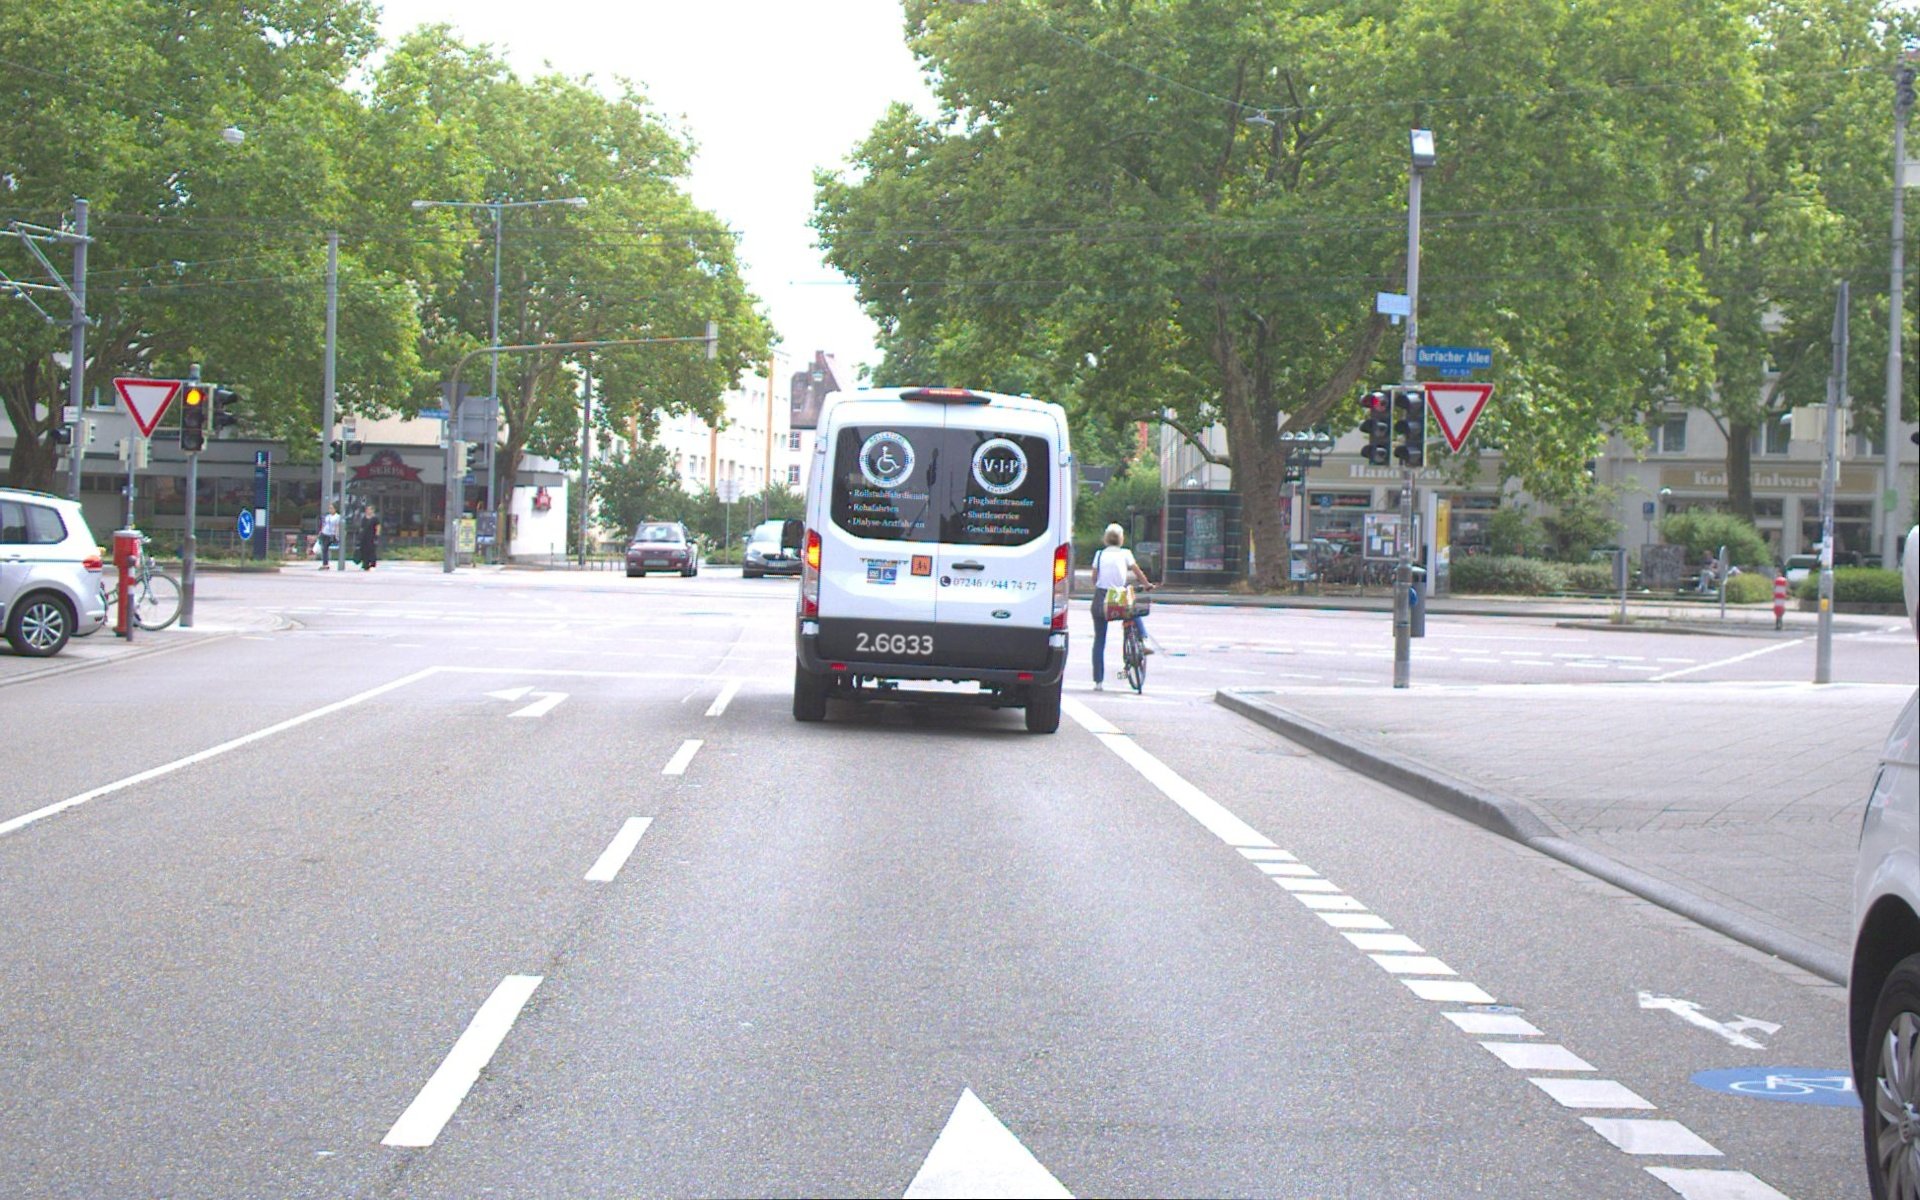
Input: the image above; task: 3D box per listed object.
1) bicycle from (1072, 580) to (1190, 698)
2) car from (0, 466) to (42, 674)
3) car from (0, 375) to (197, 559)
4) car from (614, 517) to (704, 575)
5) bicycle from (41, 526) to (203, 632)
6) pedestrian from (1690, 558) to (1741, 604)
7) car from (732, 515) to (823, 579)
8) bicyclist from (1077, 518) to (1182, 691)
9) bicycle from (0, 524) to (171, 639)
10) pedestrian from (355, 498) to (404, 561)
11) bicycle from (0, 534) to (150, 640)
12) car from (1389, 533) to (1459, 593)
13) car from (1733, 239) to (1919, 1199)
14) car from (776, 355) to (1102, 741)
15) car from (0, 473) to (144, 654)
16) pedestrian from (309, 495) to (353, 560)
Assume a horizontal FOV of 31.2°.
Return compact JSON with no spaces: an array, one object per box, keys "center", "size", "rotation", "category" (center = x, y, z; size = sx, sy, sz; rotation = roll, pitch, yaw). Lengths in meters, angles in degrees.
[{"center":[1.679,0.370,34.034],"size":[0.902,1.071,1.970],"rotation":[1,1,-4],"category":"bicycle"},{"center":[-10.470,-0.311,30.656],"size":[4.000,1.872,1.796],"rotation":[1,1,-40],"category":"car"},{"center":[-22.289,-3.025,77.141],"size":[9.897,3.902,3.451],"rotation":[2,1,24],"category":"car"},{"center":[-7.966,-1.451,91.188],"size":[1.621,1.471,3.999],"rotation":[1,1,6],"category":"car"},{"center":[-10.093,-0.251,41.400],"size":[1.877,1.163,0.497],"rotation":[4,1,19],"category":"bicycle"},{"center":[20.229,-0.508,92.061],"size":[1.091,1.232,1.441],"rotation":[0,0,3],"category":"pedestrian"},{"center":[-4.751,-1.405,89.914],"size":[1.733,1.586,3.999],"rotation":[1,1,6],"category":"car"},{"center":[1.683,0.036,34.225],"size":[0.903,1.677,0.757],"rotation":[1,1,-4],"category":"bicyclist"},{"center":[-9.795,-0.208,38.240],"size":[1.809,1.116,0.594],"rotation":[5,1,3],"category":"bicycle"},{"center":[-14.191,-1.723,84.035],"size":[0.930,1.509,0.723],"rotation":[2,1,13],"category":"pedestrian"},{"center":[-9.835,-0.150,37.569],"size":[1.809,1.116,0.594],"rotation":[1,1,5],"category":"bicycle"},{"center":[15.657,-1.260,116.135],"size":[1.994,1.924,4.000],"rotation":[1,1,3],"category":"car"},{"center":[2.826,0.402,4.959],"size":[2.014,2.022,5.124],"rotation":[0,2,-3],"category":"car"},{"center":[-0.263,-0.447,26.995],"size":[2.181,2.638,4.629],"rotation":[4,2,-3],"category":"car"},{"center":[-10.317,-0.390,33.909],"size":[4.000,1.767,1.796],"rotation":[1,1,-40],"category":"car"},{"center":[-15.367,-1.777,84.009],"size":[0.807,1.567,0.723],"rotation":[2,1,13],"category":"pedestrian"}]
